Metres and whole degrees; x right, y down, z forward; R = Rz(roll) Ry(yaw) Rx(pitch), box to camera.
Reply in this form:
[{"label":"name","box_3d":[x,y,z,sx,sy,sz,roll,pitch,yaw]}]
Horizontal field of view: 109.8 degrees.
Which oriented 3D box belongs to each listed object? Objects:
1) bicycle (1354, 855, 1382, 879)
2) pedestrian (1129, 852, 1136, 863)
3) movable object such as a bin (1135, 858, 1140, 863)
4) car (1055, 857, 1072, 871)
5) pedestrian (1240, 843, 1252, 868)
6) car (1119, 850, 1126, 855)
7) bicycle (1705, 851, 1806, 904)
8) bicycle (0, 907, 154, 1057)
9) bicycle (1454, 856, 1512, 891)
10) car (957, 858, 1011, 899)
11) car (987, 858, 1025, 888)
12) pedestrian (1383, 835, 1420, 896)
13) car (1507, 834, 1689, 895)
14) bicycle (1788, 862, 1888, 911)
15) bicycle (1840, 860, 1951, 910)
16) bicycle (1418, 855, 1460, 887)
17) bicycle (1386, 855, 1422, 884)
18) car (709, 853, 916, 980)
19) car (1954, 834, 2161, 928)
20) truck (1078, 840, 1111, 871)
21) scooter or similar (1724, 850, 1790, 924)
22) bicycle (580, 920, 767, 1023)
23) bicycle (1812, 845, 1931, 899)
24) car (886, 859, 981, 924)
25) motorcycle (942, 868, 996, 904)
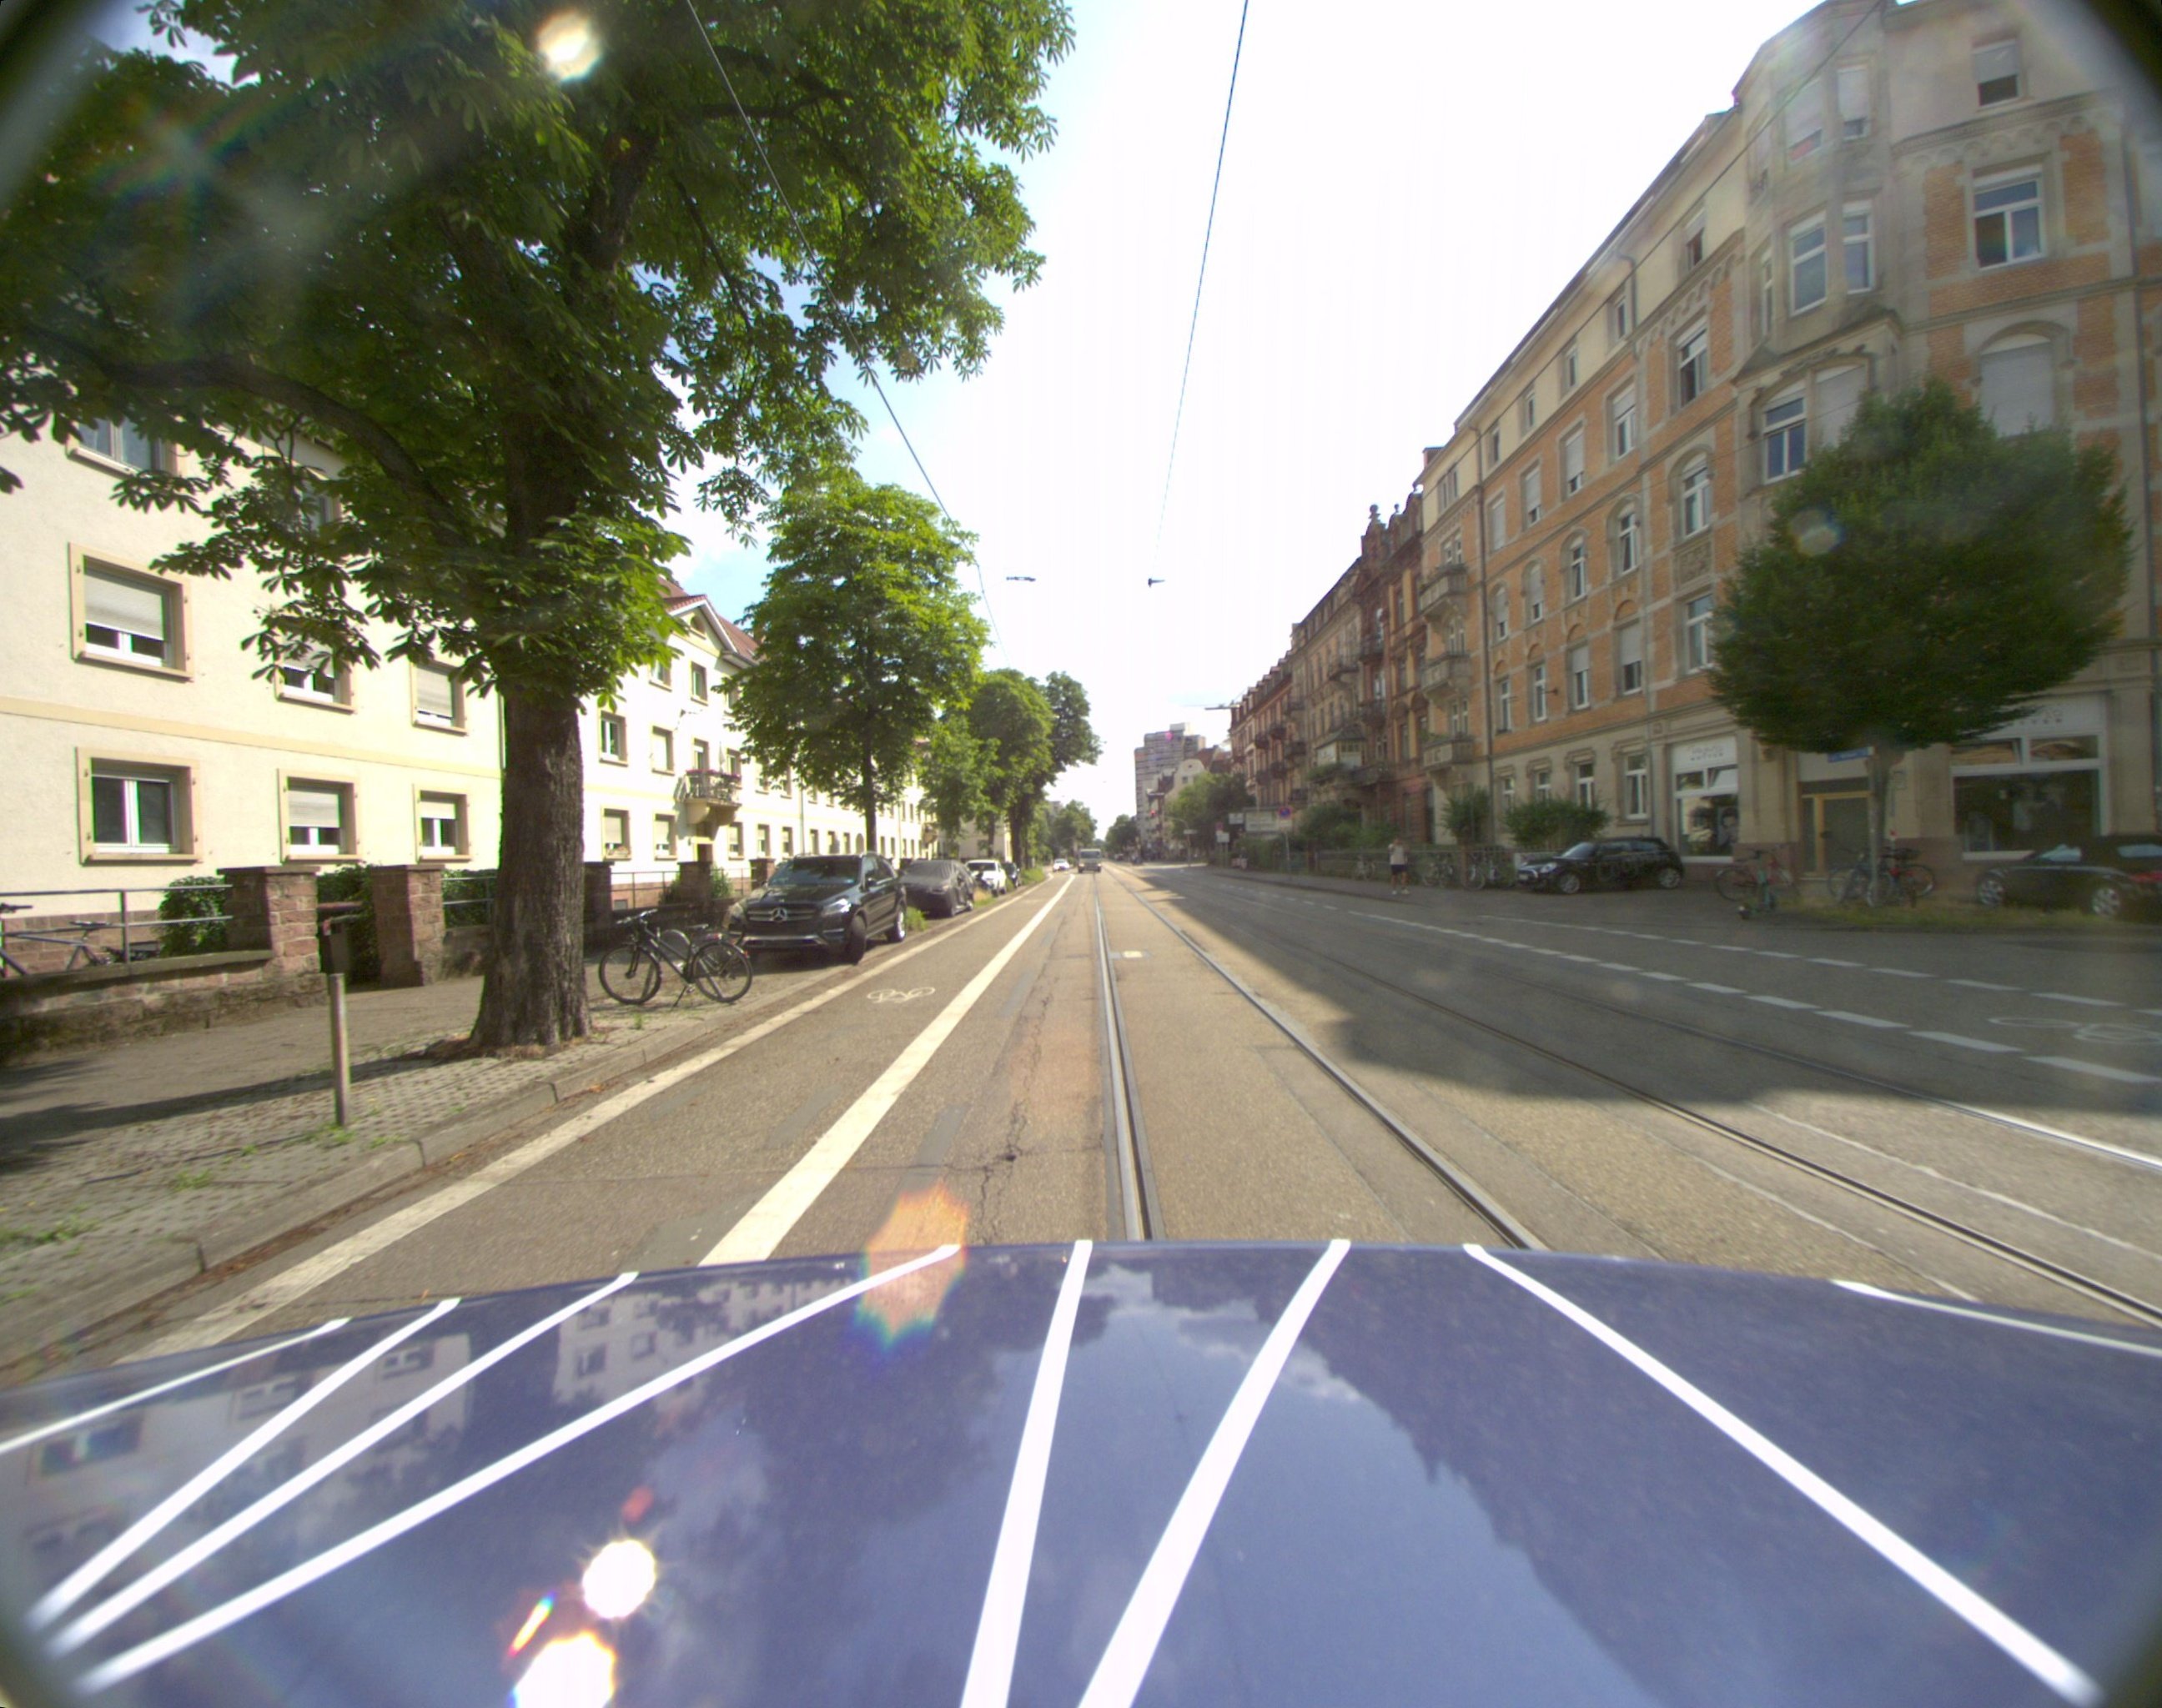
[{"label":"bicycle","box_3d":[11.673,0.526,30.949,0.422,0.927,1.949,-2,0,0]},{"label":"pedestrian","box_3d":[7.035,0.468,104.142,0.783,1.565,0.692,-2,0,-13]},{"label":"movable object such as a bin","box_3d":[7.737,0.862,104.638,0.513,0.713,0.457,-2,0,-13]},{"label":"car","box_3d":[-2.075,1.178,89.866,1.751,1.471,3.653,-4,0,1]},{"label":"pedestrian","box_3d":[11.224,0.118,51.766,0.489,1.693,1.151,-2,1,-1]},{"label":"car","box_3d":[12.068,-0.366,221.717,1.841,1.482,3.892,-2,0,1]},{"label":"bicycle","box_3d":[14.537,0.509,16.386,1.759,1.057,0.524,-2,0,-5]},{"label":"bicycle","box_3d":[-9.562,1.157,6.922,0.304,1.237,1.458,-2,1,6]},{"label":"bicycle","box_3d":[11.745,0.567,22.217,1.456,0.971,0.404,-2,0,1]},{"label":"car","box_3d":[-4.230,1.038,33.740,1.746,1.571,4.248,-2,0,0]},{"label":"car","box_3d":[-4.159,1.017,42.794,1.665,1.512,4.287,-2,0,0]},{"label":"pedestrian","box_3d":[9.631,0.327,22.872,0.534,1.750,1.105,-4,1,1]},{"label":"car","box_3d":[13.823,0.273,20.492,3.611,1.395,1.787,-3,0,5]},{"label":"bicycle","box_3d":[14.288,0.594,14.395,0.524,0.833,1.700,-2,0,14]},{"label":"bicycle","box_3d":[14.818,0.547,13.884,0.524,0.833,1.700,-2,0,14]},{"label":"bicycle","box_3d":[11.500,0.530,24.466,0.422,0.971,1.949,-2,0,0]},{"label":"bicycle","box_3d":[11.384,0.522,26.833,0.422,0.971,1.949,-2,0,0]},{"label":"car","box_3d":[-4.379,0.900,13.297,1.831,1.772,4.733,-2,0,1]},{"label":"car","box_3d":[17.345,0.375,12.864,1.641,1.352,3.932,-2,0,20]},{"label":"truck","box_3d":[1.226,0.128,71.549,2.532,2.722,6.513,-2,0,-4]},{"label":"scooter or similar","box_3d":[12.234,0.572,13.744,1.367,1.228,0.403,-3,1,-27]},{"label":"bicycle","box_3d":[-4.505,1.295,8.471,1.712,1.001,0.638,-2,1,1]},{"label":"bicycle","box_3d":[16.348,0.375,15.746,1.695,1.057,0.525,-2,0,11]},{"label":"car","box_3d":[-4.301,1.030,22.971,1.867,1.643,4.637,-2,0,1]},{"label":"motorcycle","box_3d":[-4.399,1.256,29.991,2.012,1.329,0.747,-2,1,-3]}]
